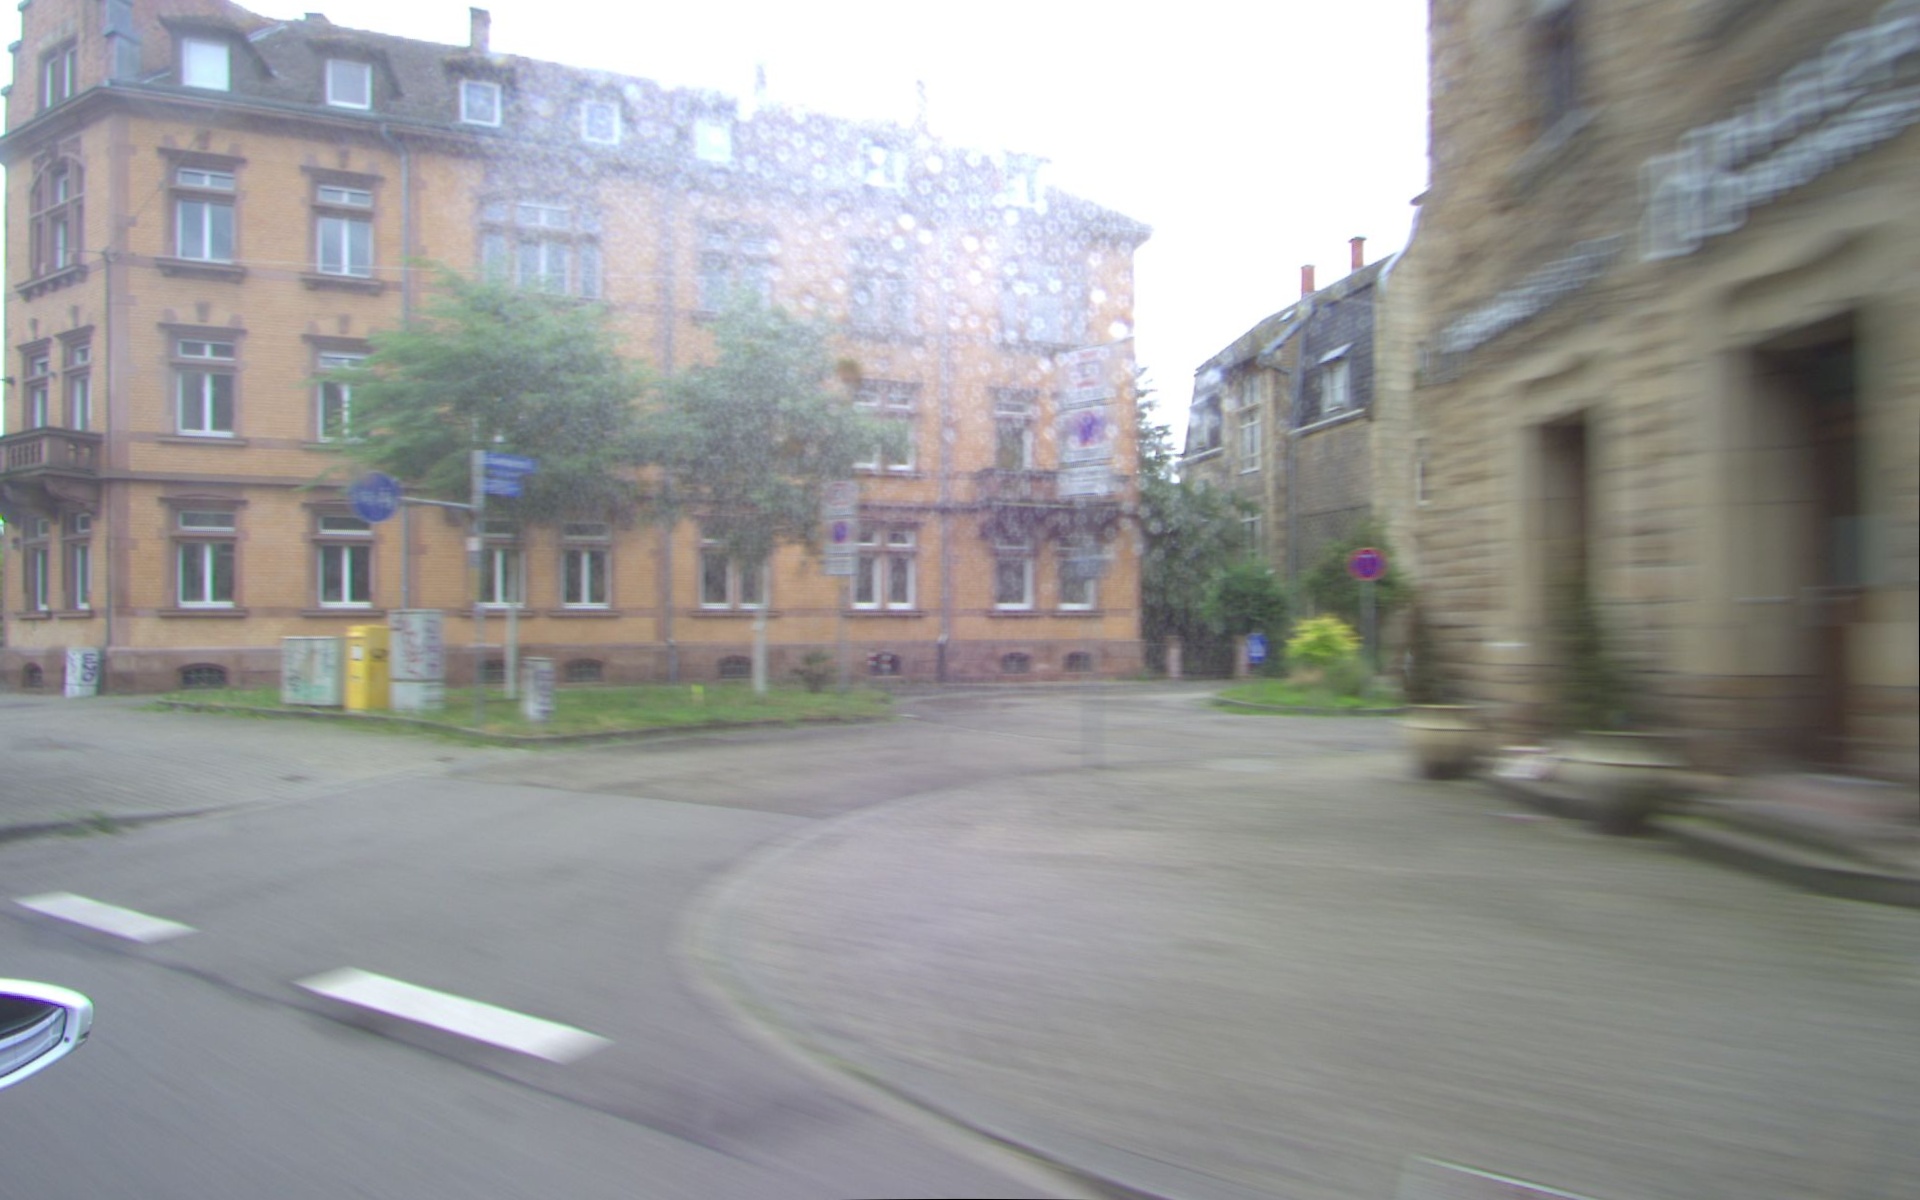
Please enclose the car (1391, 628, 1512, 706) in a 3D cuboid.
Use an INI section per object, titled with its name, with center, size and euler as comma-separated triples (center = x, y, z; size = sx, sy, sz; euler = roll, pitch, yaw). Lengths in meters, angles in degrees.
[car]
center = 10.572, 1.382, 21.768
size = 1.676, 1.452, 3.538
euler = 0, 0, 15
